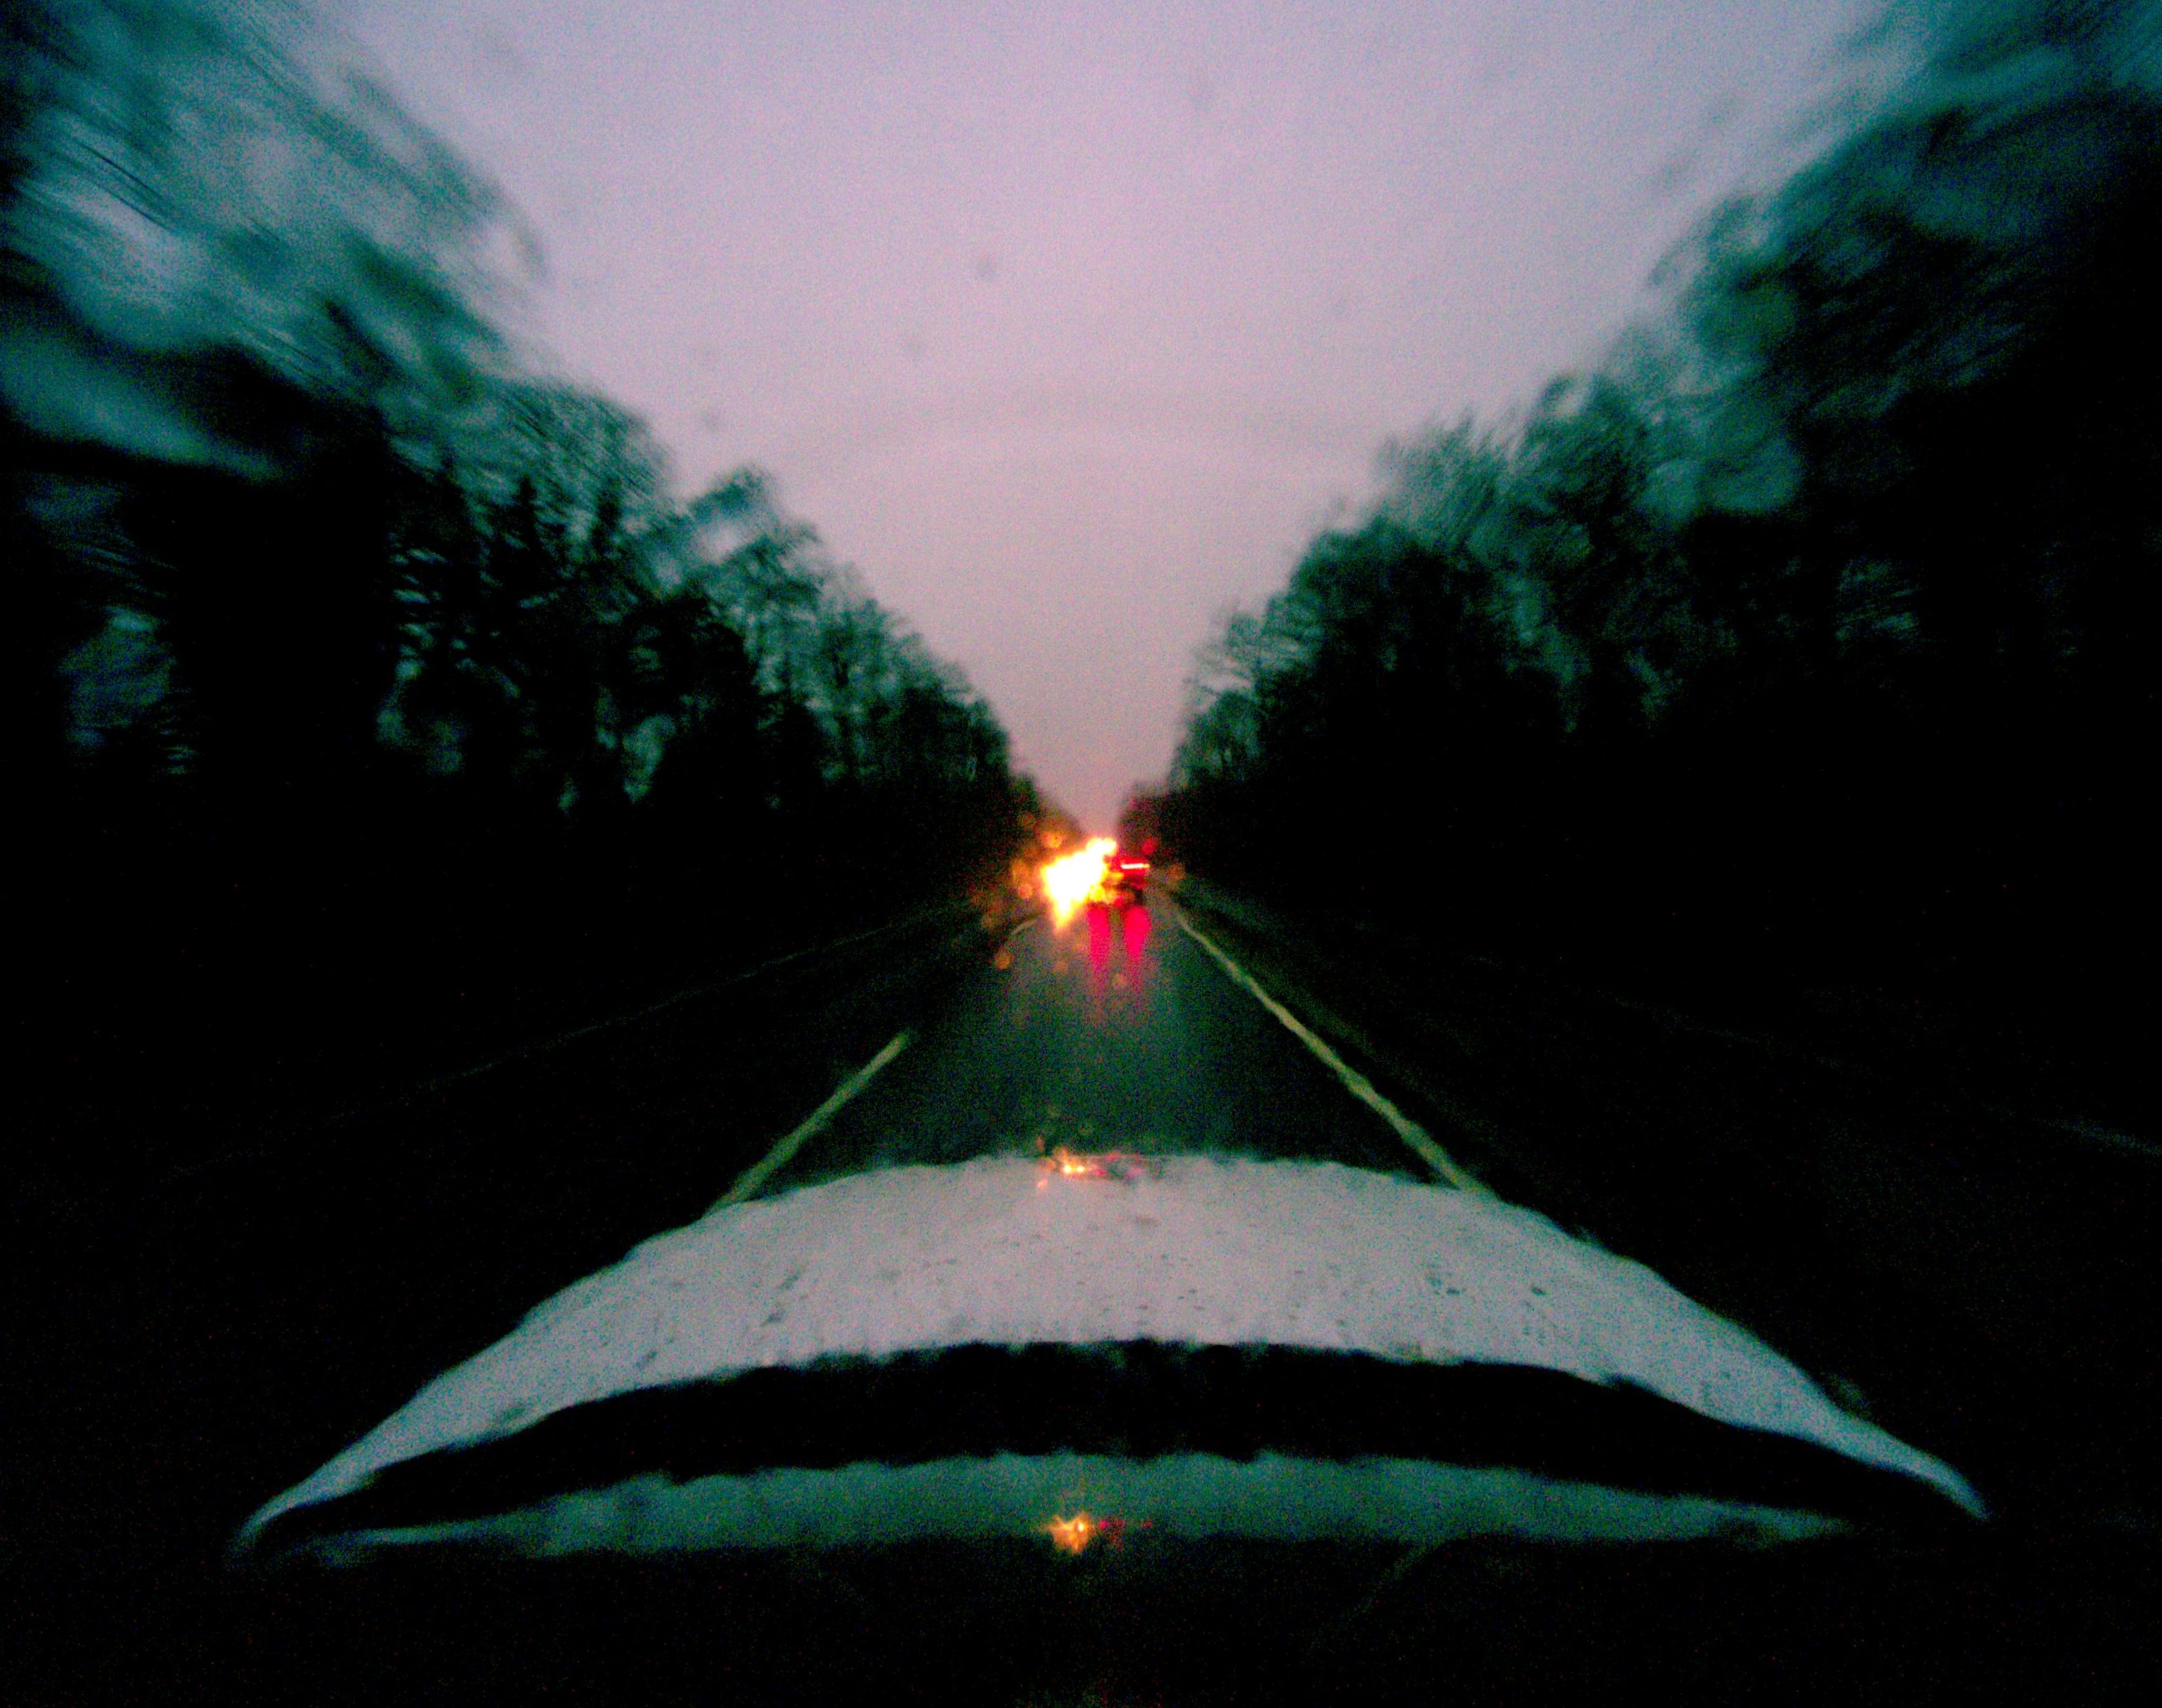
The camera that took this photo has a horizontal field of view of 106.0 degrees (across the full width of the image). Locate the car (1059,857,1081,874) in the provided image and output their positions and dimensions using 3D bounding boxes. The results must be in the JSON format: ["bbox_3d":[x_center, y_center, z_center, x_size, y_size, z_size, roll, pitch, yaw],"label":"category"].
[{"bbox_3d":[-0.976,1.015,76.059,1.792,1.461,4.179,-3,0,2],"label":"car"}]
